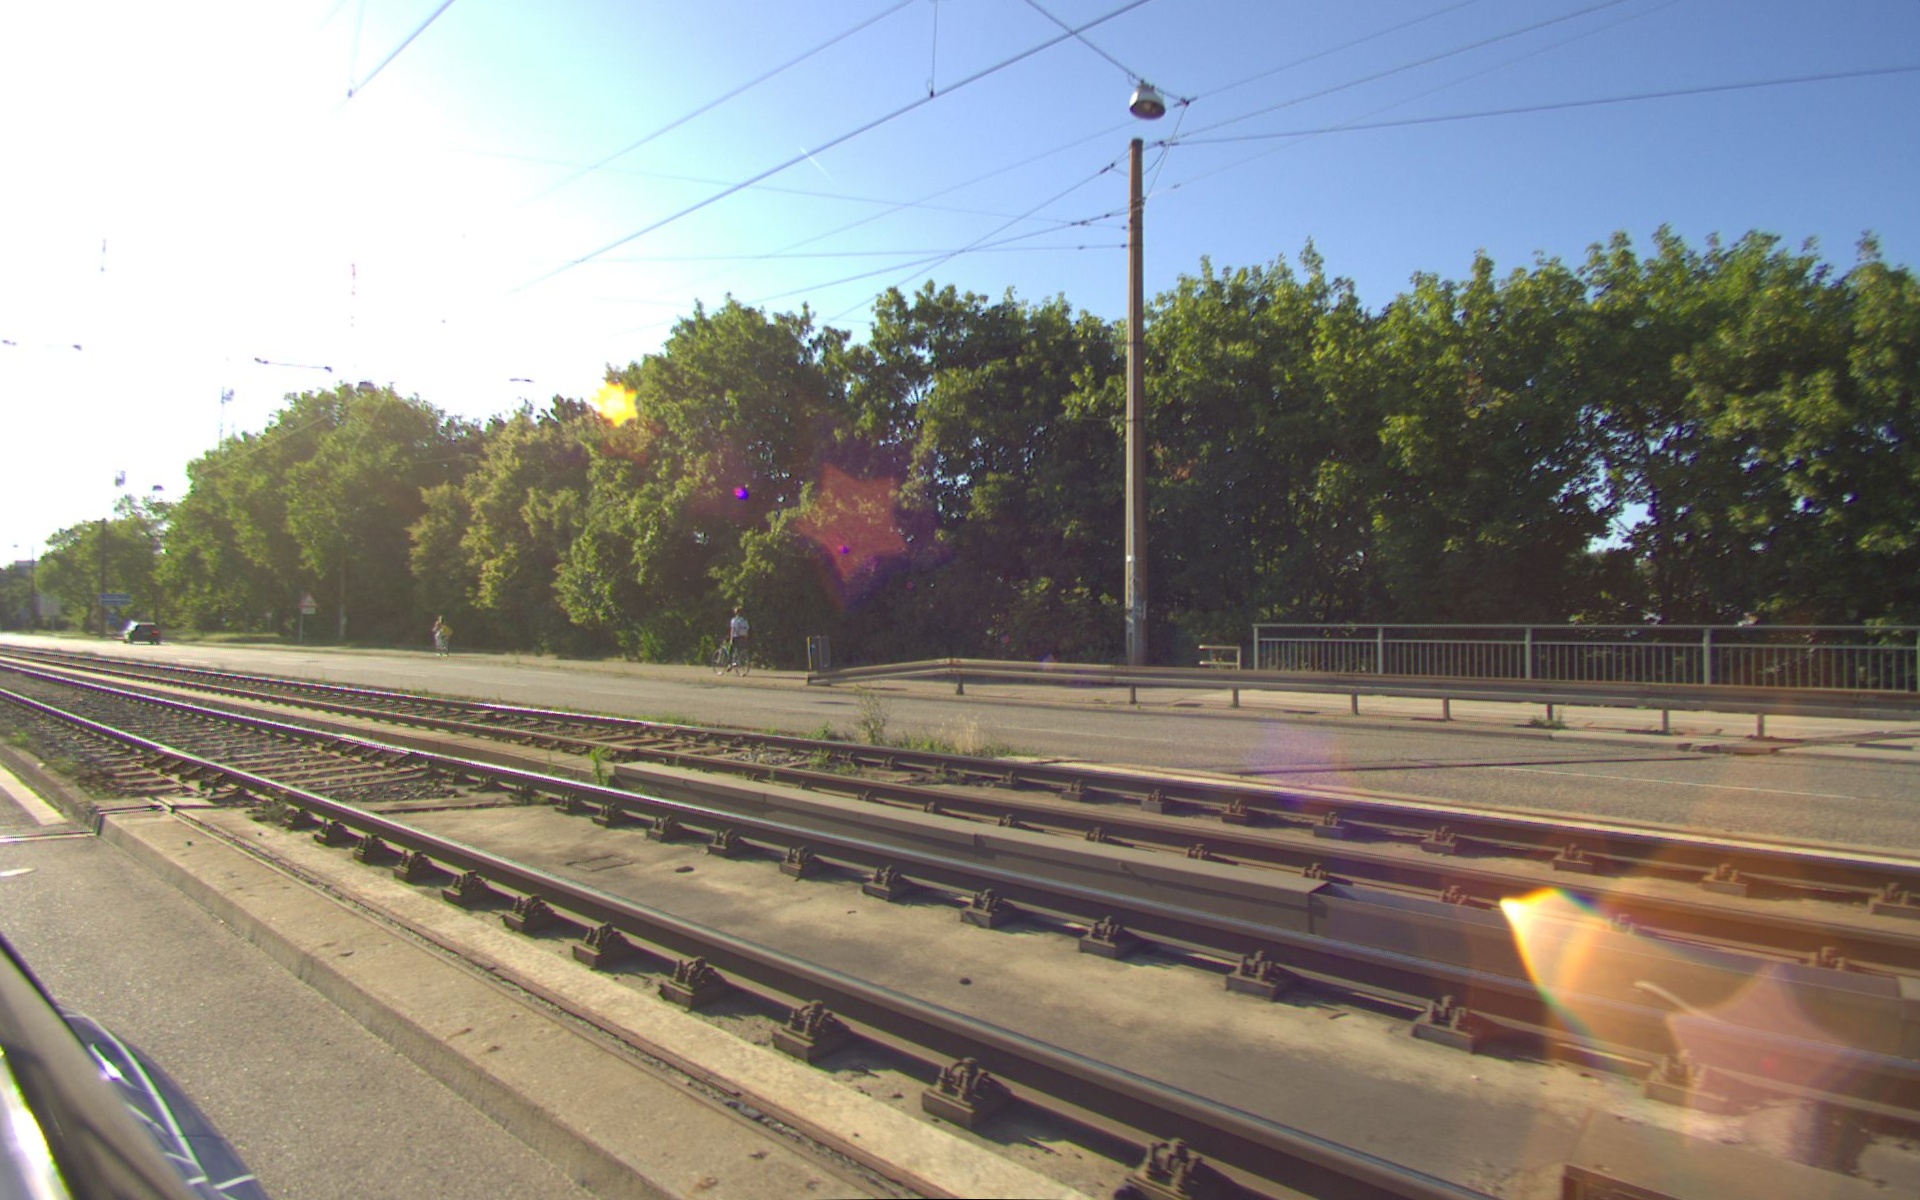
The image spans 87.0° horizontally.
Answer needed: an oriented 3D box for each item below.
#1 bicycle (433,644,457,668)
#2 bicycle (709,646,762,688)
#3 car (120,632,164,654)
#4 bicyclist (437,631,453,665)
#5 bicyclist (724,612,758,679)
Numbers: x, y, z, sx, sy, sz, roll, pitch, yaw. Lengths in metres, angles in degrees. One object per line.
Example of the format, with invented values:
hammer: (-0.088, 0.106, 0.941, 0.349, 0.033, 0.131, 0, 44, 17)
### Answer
bicycle: (-22.372, 2.419, 43.977, 0.420, 0.971, 1.915, -1, 0, -42)
bicycle: (-6.177, 1.823, 27.778, 1.727, 1.060, 0.498, -1, 0, 42)
car: (-61.662, 3.214, 76.270, 3.956, 1.533, 1.952, -1, 0, 42)
bicyclist: (-22.389, 2.059, 43.987, 0.417, 1.439, 0.755, -1, 0, -42)
bicyclist: (-5.964, 1.227, 27.577, 0.833, 1.764, 0.492, -1, 0, 41)
